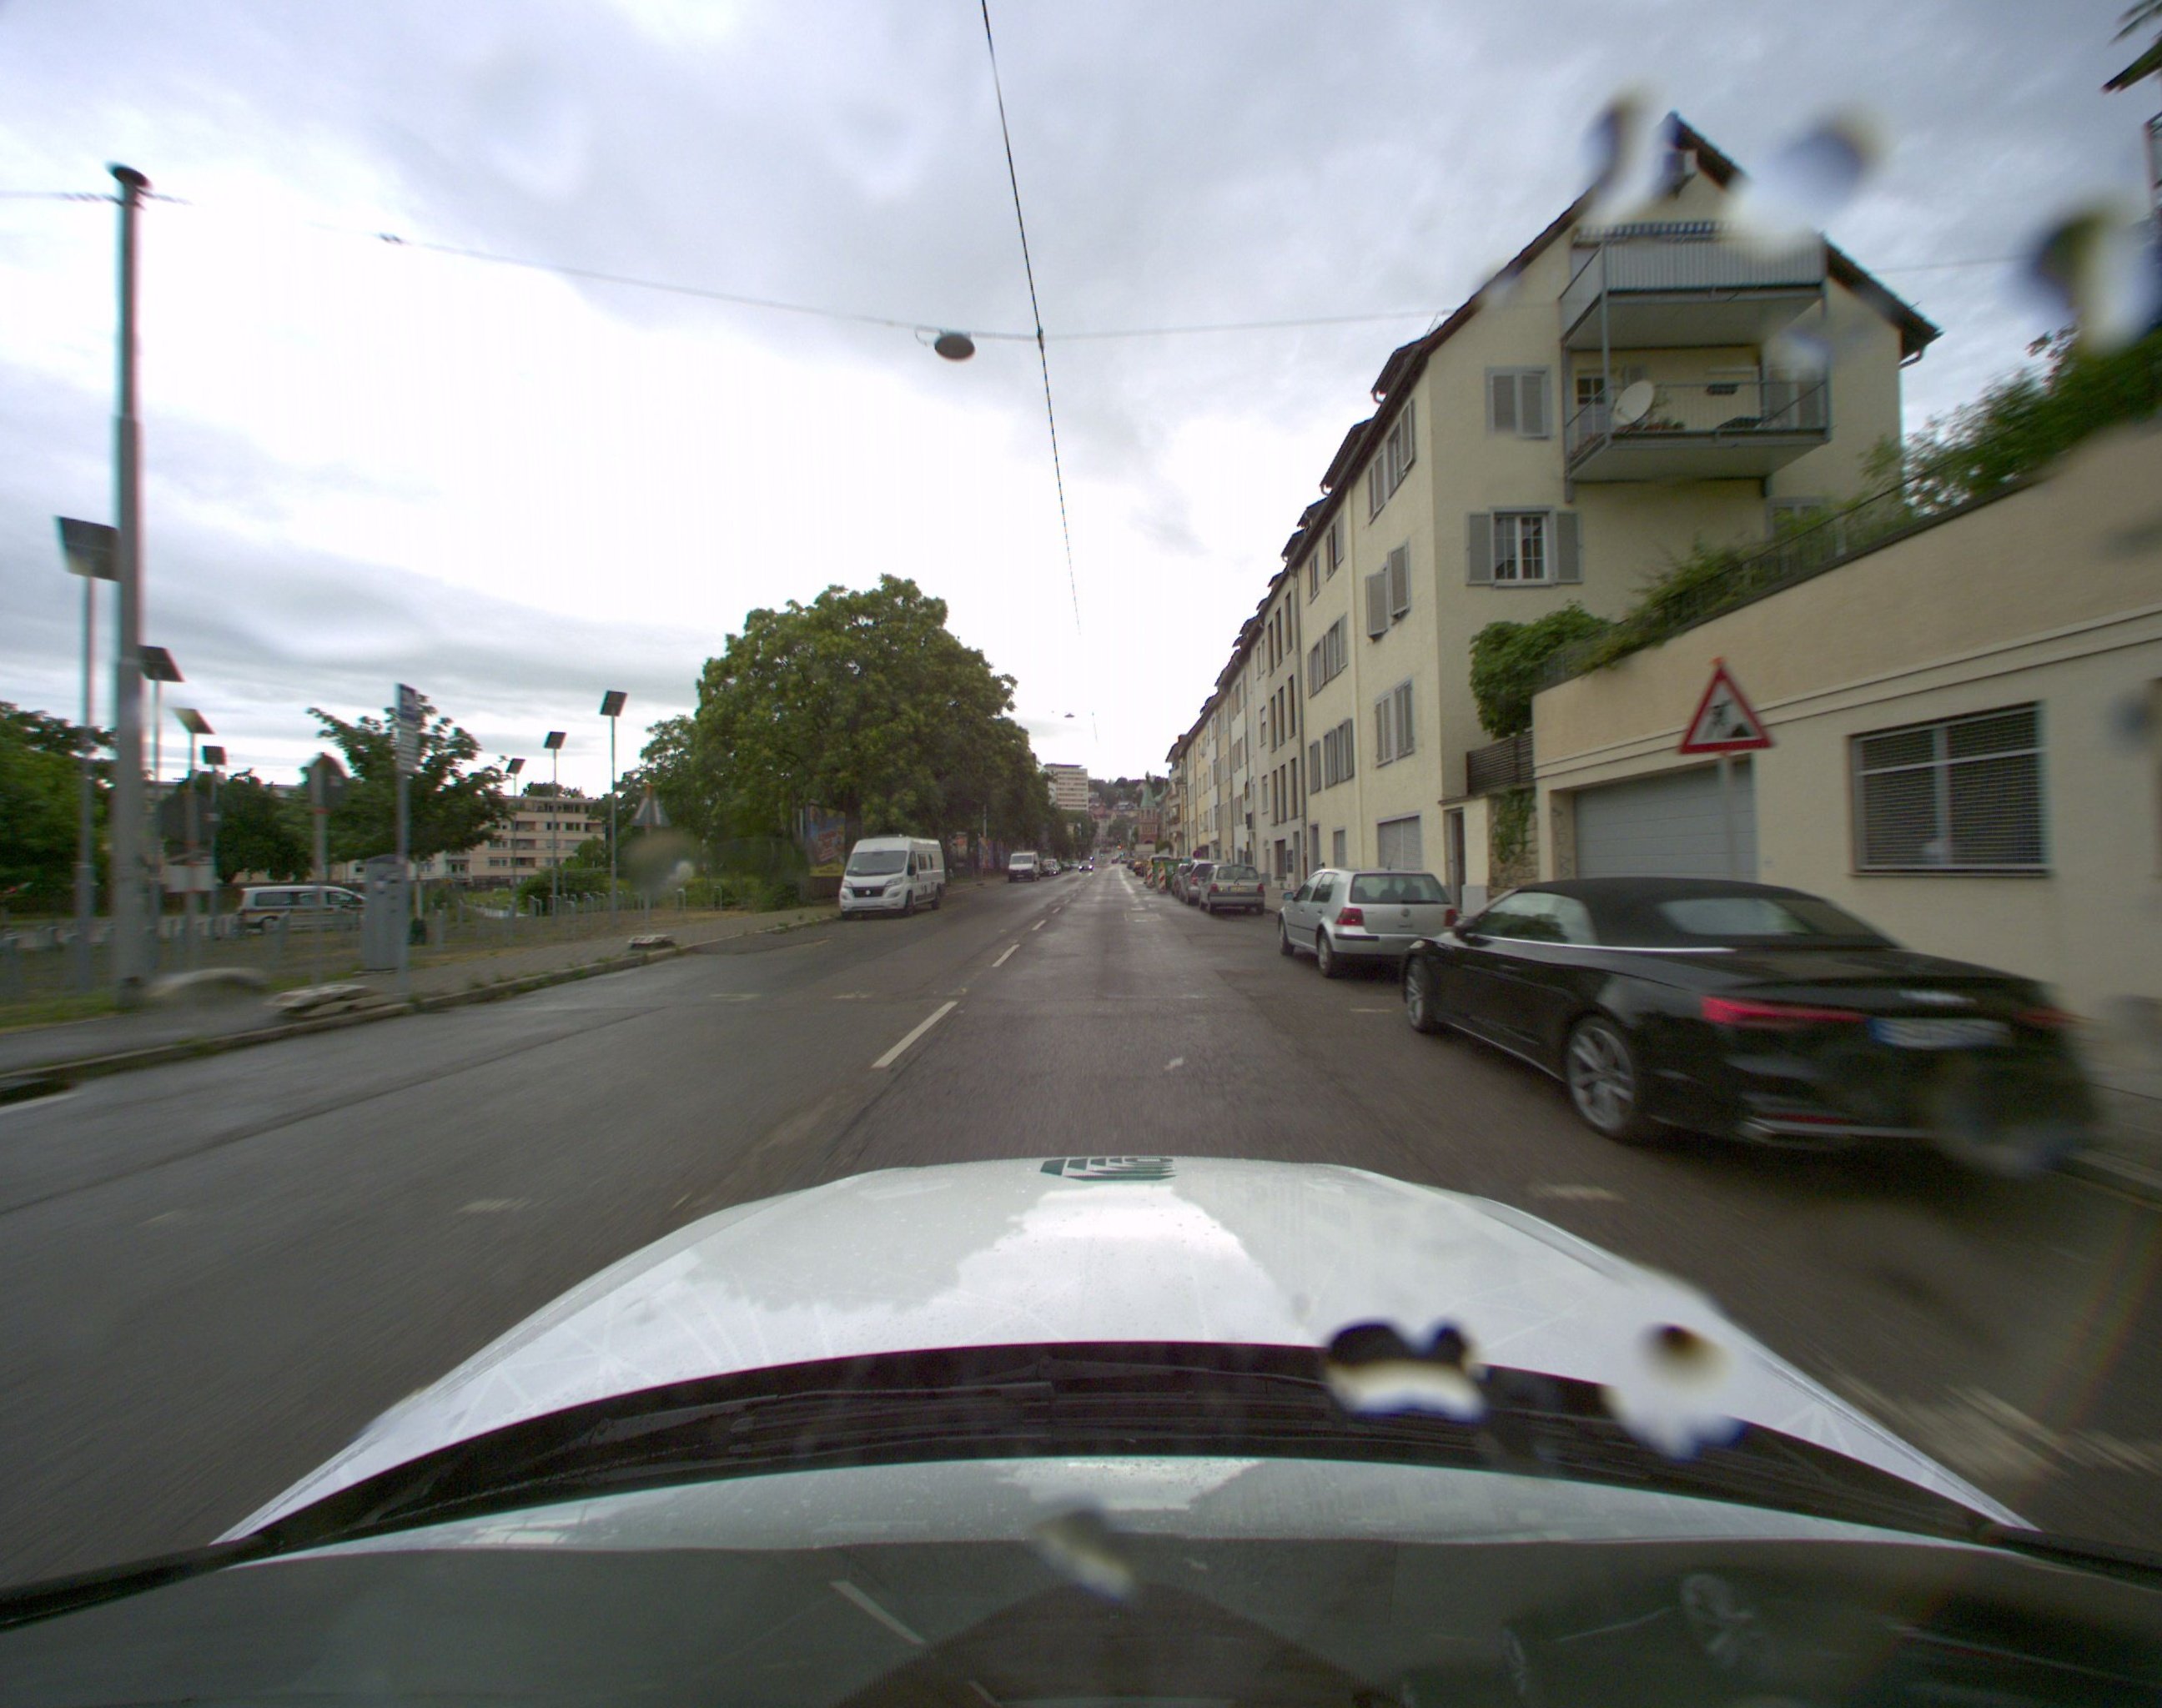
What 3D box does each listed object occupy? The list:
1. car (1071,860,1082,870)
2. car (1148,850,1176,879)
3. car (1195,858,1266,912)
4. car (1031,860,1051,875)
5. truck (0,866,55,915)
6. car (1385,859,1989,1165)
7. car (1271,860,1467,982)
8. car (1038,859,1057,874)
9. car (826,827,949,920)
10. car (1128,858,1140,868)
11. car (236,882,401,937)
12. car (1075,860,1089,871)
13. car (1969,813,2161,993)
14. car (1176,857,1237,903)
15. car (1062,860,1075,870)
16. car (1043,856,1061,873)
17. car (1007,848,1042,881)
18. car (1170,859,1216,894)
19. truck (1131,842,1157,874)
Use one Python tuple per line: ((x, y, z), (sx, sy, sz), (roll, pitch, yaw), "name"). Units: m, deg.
((-0.775, 1.858, 137.044), (1.703, 1.450, 4.295), (-2, -1, 1), "car")
((5.832, 0.740, 59.066), (1.810, 1.924, 4.242), (-2, 0, 3), "car")
((4.416, 0.867, 24.459), (1.553, 1.454, 3.761), (0, 0, 2), "car")
((-3.913, 1.350, 80.773), (1.676, 1.398, 3.911), (-2, -1, 1), "car")
((-121.911, 4.282, 92.005), (15.506, 5.143, 5.644), (-3, 0, 44), "truck")
((3.637, 0.775, 5.831), (1.623, 1.454, 3.761), (0, 0, 2), "car")
((3.974, 0.830, 11.871), (1.623, 1.454, 3.761), (0, 0, 2), "car")
((-3.549, 1.361, 87.545), (1.676, 1.462, 4.278), (-2, -1, 1), "car")
((-6.100, 0.562, 26.696), (2.222, 2.579, 6.539), (-3, 0, 1), "car")
((8.569, 1.401, 131.006), (1.811, 1.652, 4.078), (0, 0, 2), "car")
((-30.640, 2.169, 32.833), (1.975, 1.834, 4.721), (-2, 0, 44), "car")
((0.116, 1.514, 109.981), (1.799, 1.416, 4.383), (-1, 0, 0), "car")
((9.377, 0.365, 5.628), (1.880, 1.401, 4.202), (-1, -1, -1), "car")
((4.501, 0.905, 29.670), (1.710, 1.524, 4.001), (0, 0, 2), "car")
((-1.862, 1.619, 121.440), (1.797, 1.450, 4.657), (-2, -1, 0), "car")
((-3.252, 1.193, 92.574), (1.717, 1.800, 4.345), (-2, -1, 1), "car")
((-4.461, 0.795, 65.493), (2.003, 2.487, 5.988), (-2, 0, 3), "car")
((4.807, 0.941, 35.340), (1.620, 1.411, 3.844), (0, 0, 3), "car")
((6.536, 0.414, 85.314), (2.459, 3.172, 7.040), (-1, -1, 3), "truck")
